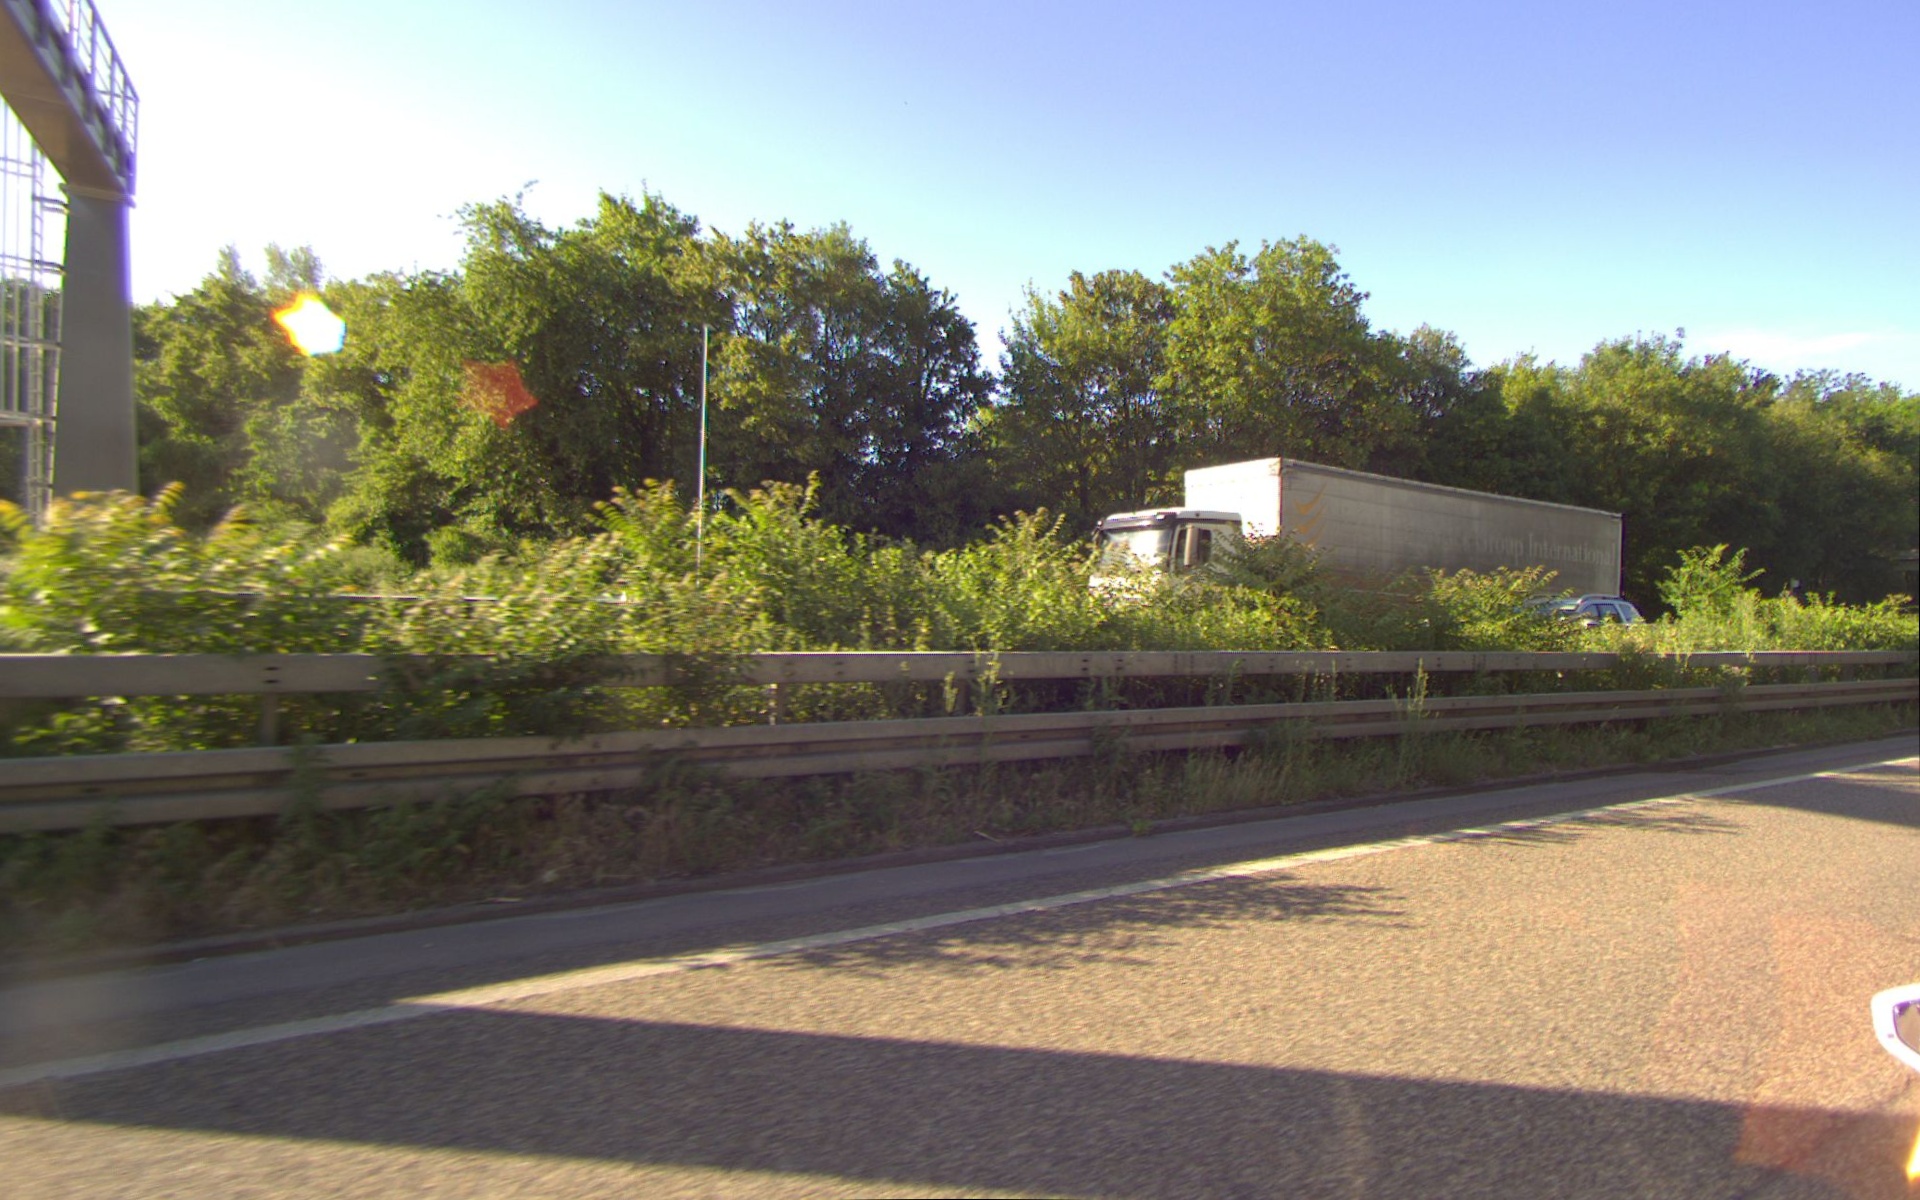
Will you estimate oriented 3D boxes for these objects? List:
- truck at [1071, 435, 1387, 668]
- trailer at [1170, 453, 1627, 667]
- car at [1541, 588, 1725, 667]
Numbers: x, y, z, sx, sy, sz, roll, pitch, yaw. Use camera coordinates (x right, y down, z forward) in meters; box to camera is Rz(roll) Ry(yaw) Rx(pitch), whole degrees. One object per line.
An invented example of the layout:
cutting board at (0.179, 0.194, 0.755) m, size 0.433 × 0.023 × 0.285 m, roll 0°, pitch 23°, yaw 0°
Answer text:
truck at (5.560, -0.815, 20.469) m, size 6.113 × 4.081 × 2.722 m, roll 1°, pitch 1°, yaw -33°
trailer at (11.096, -0.641, 24.067) m, size 13.922 × 4.081 × 2.722 m, roll 2°, pitch 1°, yaw -33°
car at (14.300, 0.573, 21.305) m, size 3.957 × 1.490 × 1.795 m, roll 2°, pitch 1°, yaw -33°
